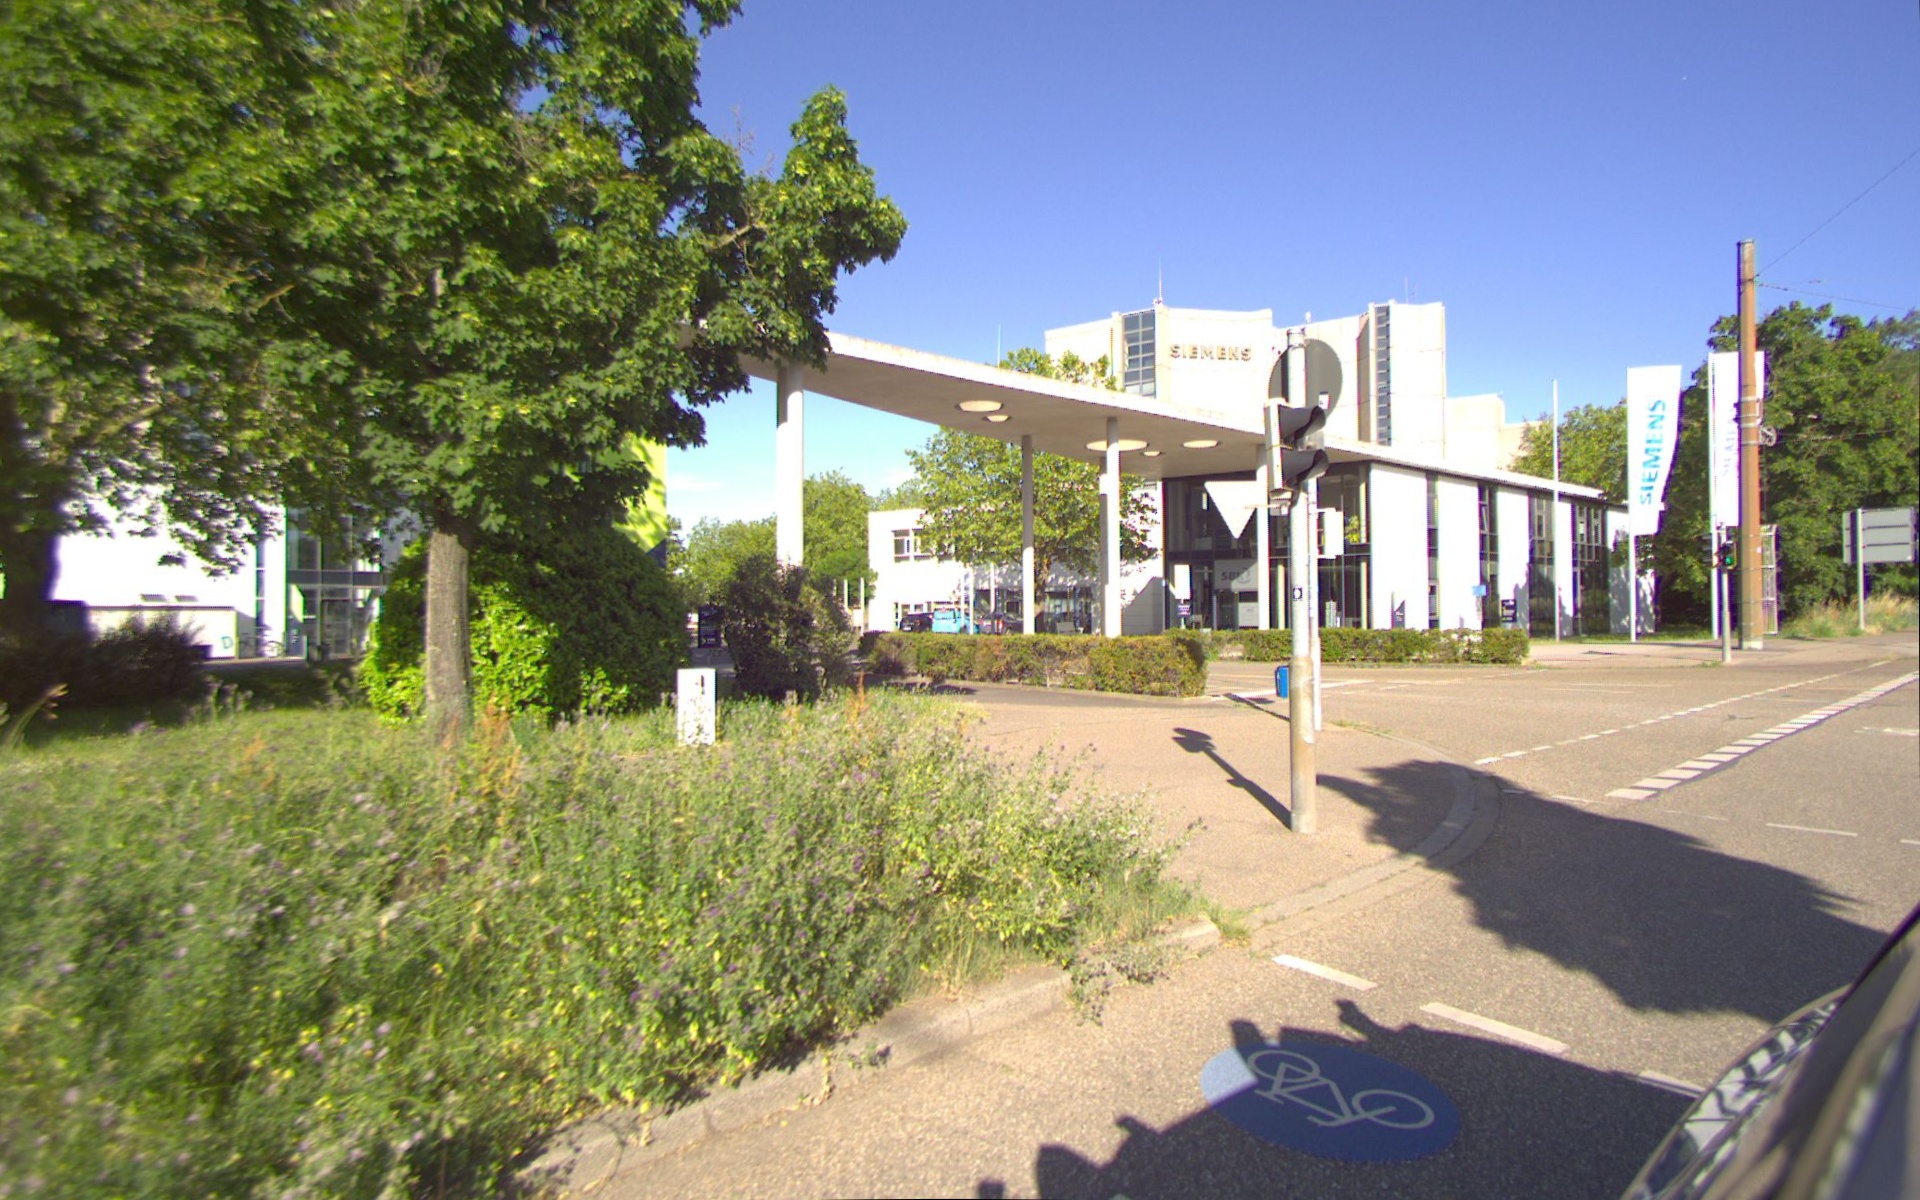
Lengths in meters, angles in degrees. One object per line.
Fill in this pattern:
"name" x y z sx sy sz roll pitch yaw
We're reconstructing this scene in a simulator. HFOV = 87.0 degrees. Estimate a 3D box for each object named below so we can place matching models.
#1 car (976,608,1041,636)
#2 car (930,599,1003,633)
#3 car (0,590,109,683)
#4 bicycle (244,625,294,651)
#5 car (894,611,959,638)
"car" 2.690 1.166 55.228 1.767 1.462 3.950 -1 0 34
"car" 0.418 0.863 56.667 1.767 1.819 4.666 -1 0 34
"car" -19.987 0.733 21.350 4.868 1.779 2.064 -1 0 37
"bicycle" -28.672 1.573 42.012 0.562 1.017 1.601 -1 -1 36
"car" -1.878 1.389 58.249 1.767 1.462 3.950 -1 0 34
